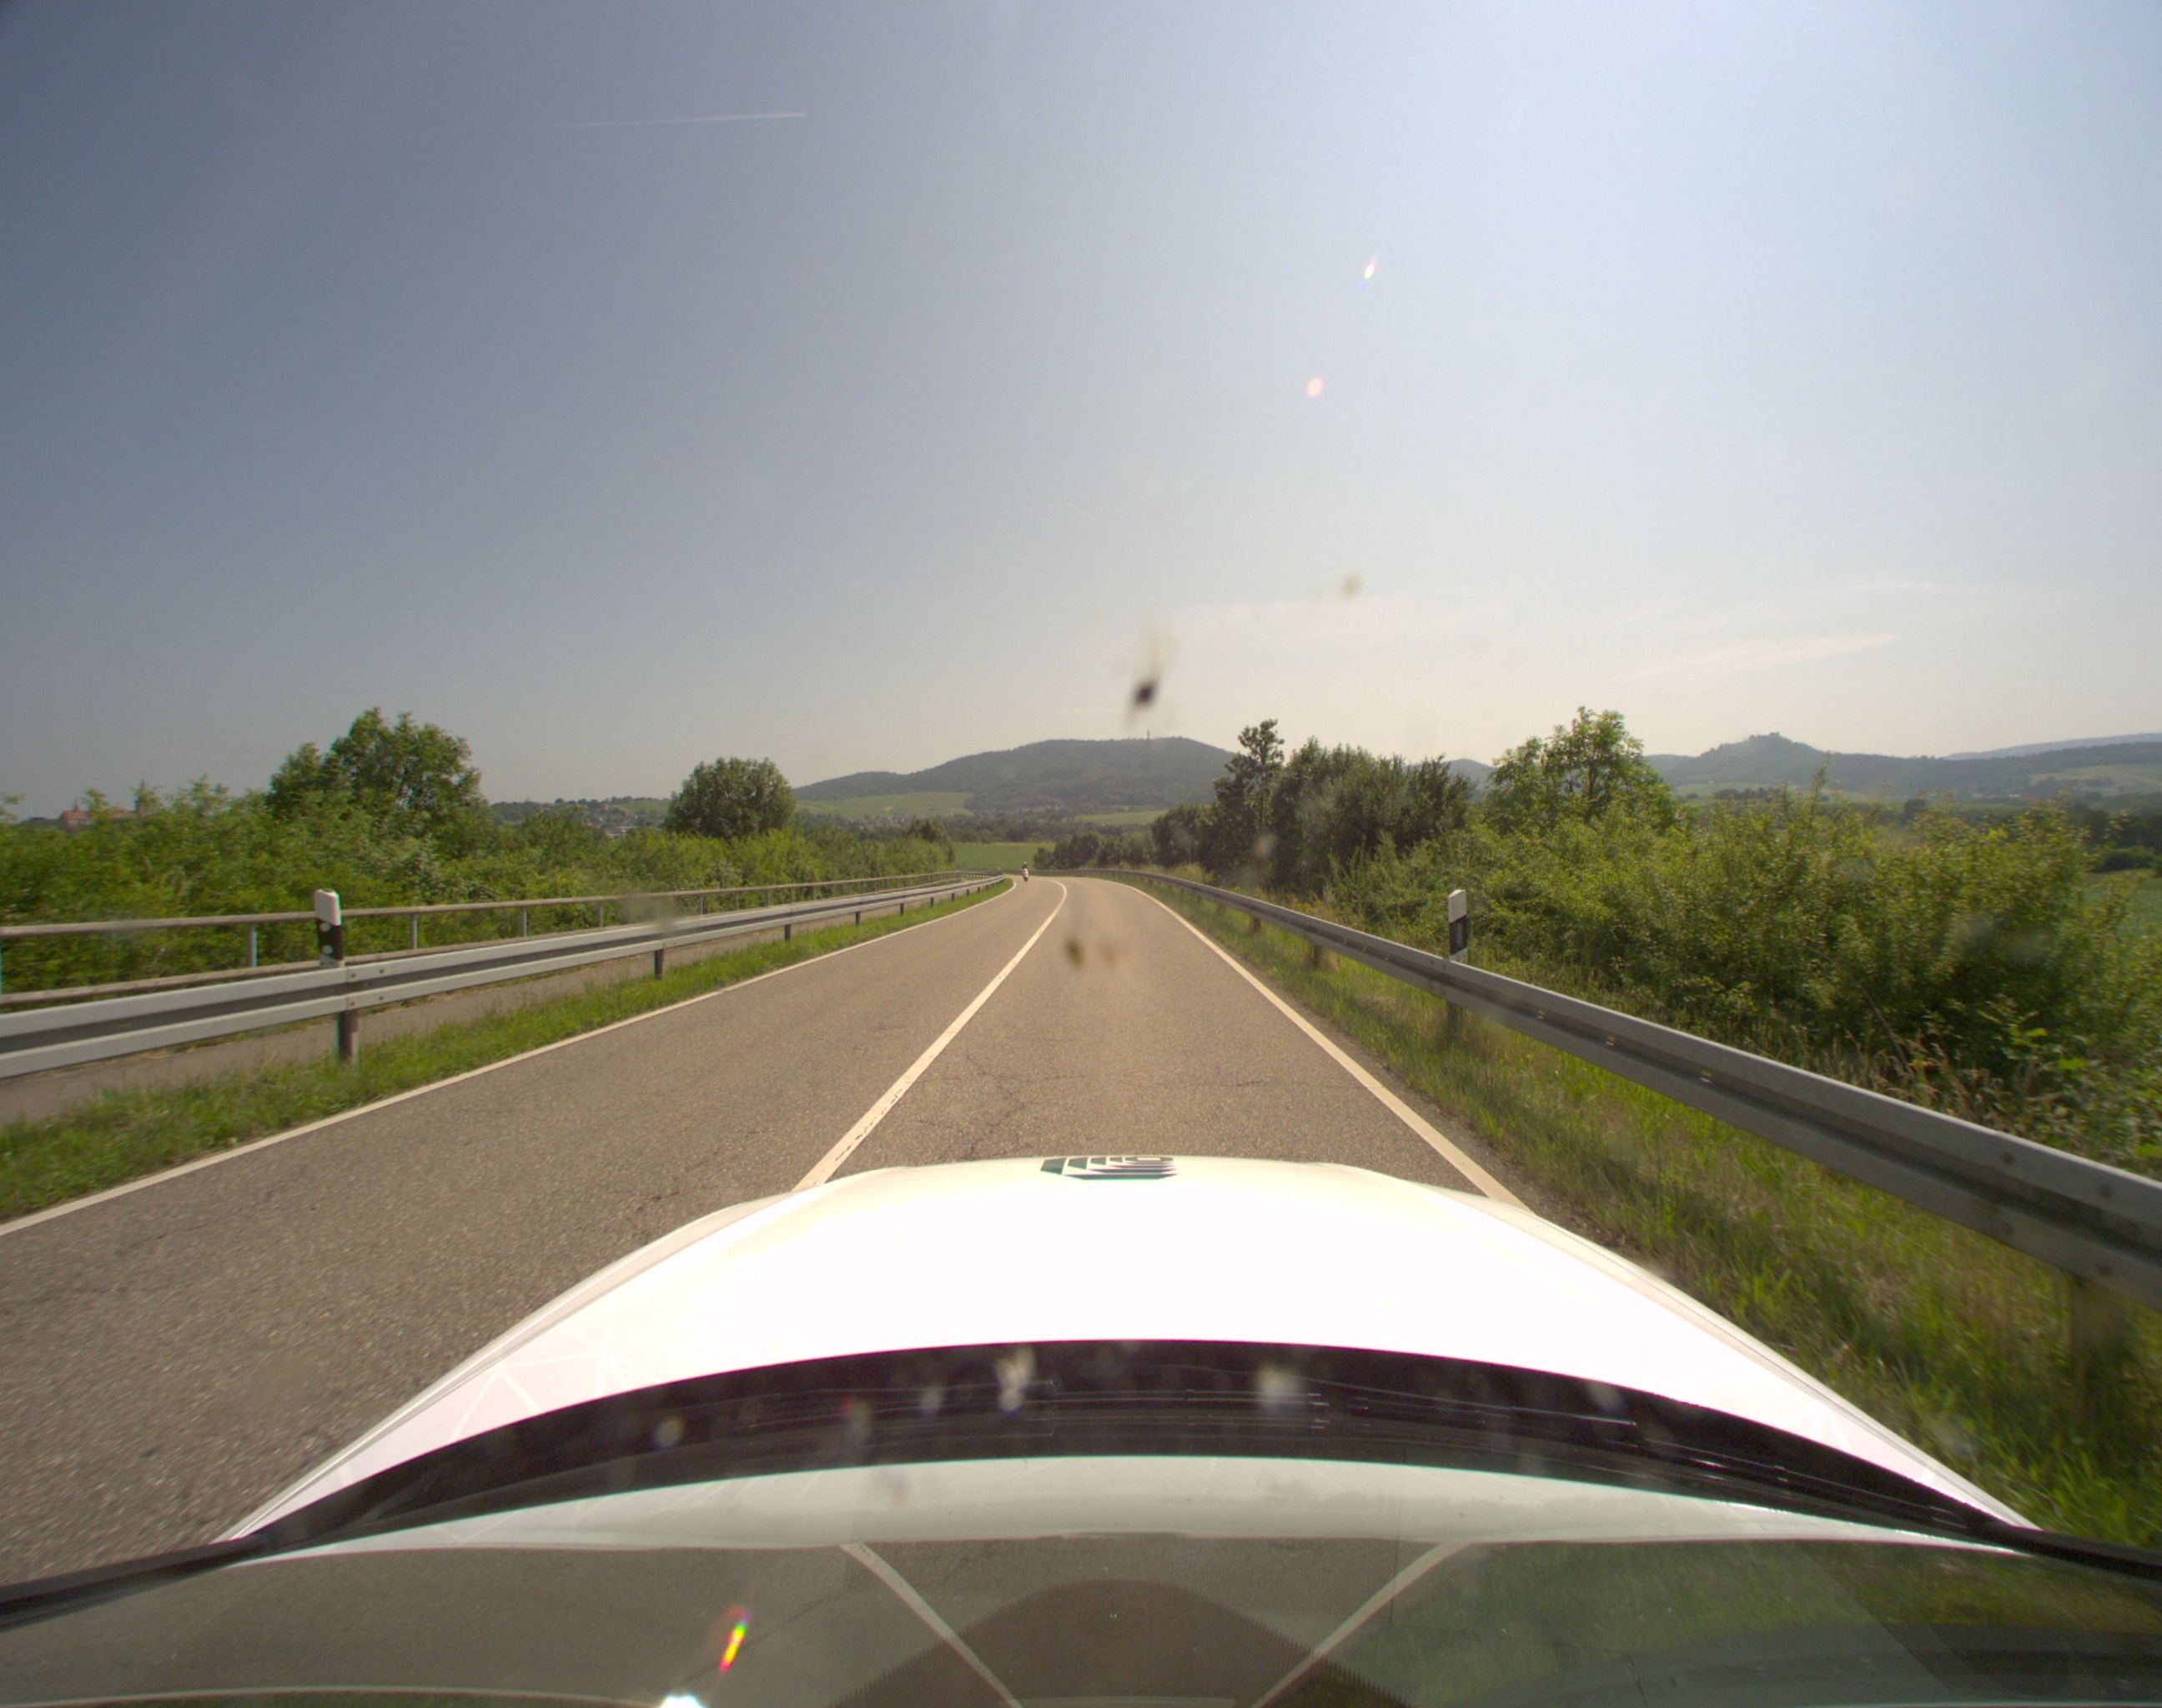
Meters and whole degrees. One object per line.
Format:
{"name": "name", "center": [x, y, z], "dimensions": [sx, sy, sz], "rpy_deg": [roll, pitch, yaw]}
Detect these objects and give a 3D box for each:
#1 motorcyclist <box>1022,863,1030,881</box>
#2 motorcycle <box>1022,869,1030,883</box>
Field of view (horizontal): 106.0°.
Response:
{"name": "motorcyclist", "center": [-4.949, 1.582, 73.110], "dimensions": [0.653, 1.562, 0.774], "rpy_deg": [-3, -1, -5]}
{"name": "motorcycle", "center": [-4.940, 1.959, 73.086], "dimensions": [0.642, 1.223, 1.636], "rpy_deg": [-3, -1, -4]}
